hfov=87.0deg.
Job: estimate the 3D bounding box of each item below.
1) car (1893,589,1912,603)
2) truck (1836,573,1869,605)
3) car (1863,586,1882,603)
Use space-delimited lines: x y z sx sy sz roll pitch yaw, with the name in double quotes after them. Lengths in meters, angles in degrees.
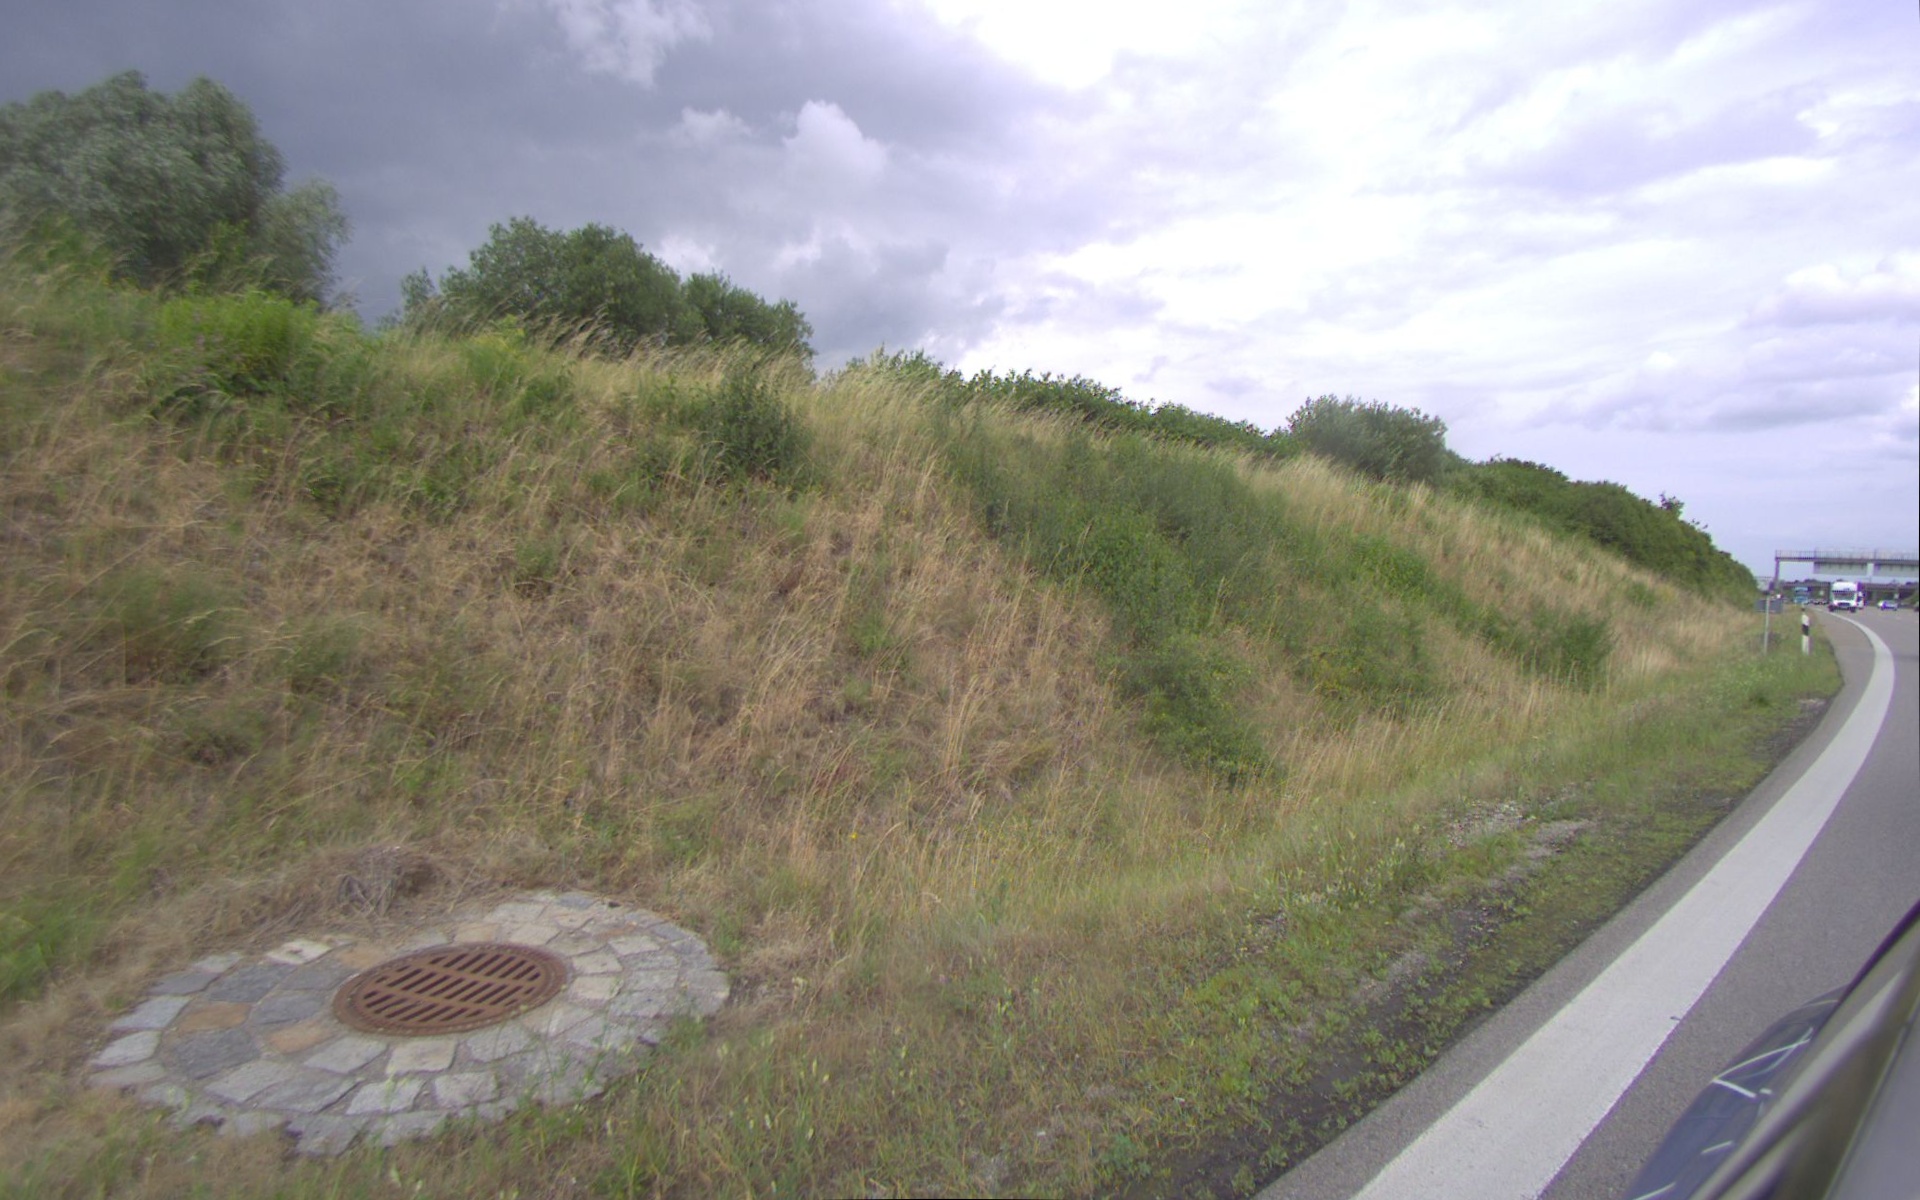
140.203 -0.665 150.576 1.994 2.039 3.936 0 1 45 "car"
94.939 -1.194 107.751 2.440 3.275 7.085 2 2 41 "truck"
132.703 -0.885 147.229 1.993 2.425 3.938 0 1 43 "car"
